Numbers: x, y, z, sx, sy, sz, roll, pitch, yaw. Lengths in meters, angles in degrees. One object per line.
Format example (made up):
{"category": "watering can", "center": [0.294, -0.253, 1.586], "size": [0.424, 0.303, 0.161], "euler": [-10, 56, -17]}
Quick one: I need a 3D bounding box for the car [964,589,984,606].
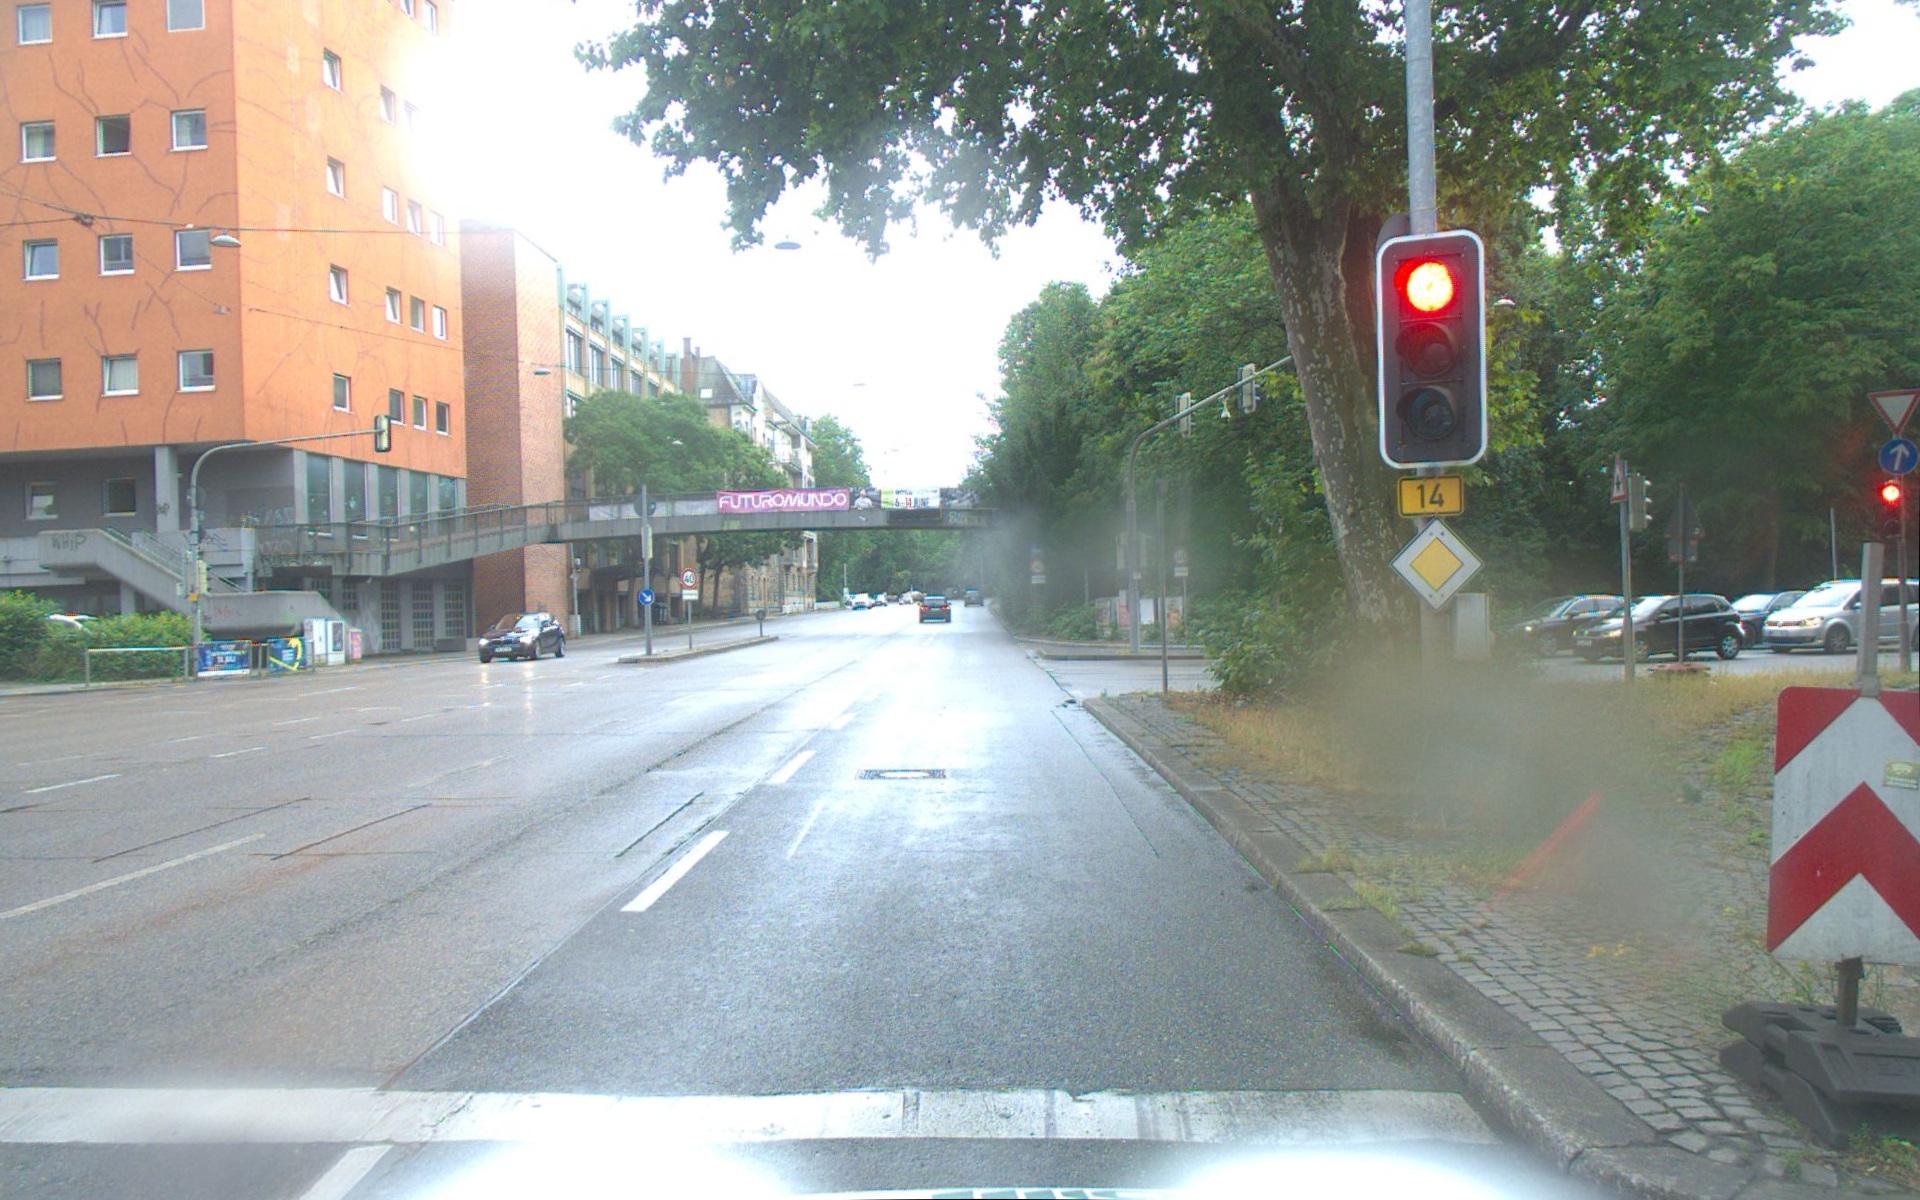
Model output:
{"category": "car", "center": [1.311, -0.227, 155.445], "size": [1.805, 1.478, 3.776], "euler": [1, 0, -1]}

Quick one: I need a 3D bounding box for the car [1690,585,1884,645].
{"category": "car", "center": [20.968, 0.380, 41.960], "size": [4.361, 1.427, 1.821], "euler": [1, 0, -17]}

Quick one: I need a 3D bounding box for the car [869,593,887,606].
{"category": "car", "center": [-9.782, -0.054, 196.994], "size": [1.673, 1.490, 4.042], "euler": [-2, 0, 2]}

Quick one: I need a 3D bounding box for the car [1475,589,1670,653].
{"category": "car", "center": [14.896, 0.516, 40.268], "size": [4.131, 1.466, 1.941], "euler": [1, 0, -17]}

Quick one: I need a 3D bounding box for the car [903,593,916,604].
{"category": "car", "center": [-6.818, -0.173, 222.749], "size": [1.648, 1.461, 3.862], "euler": [-2, 0, 0]}

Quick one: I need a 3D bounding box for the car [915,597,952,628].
{"category": "car", "center": [-1.529, 0.720, 94.289], "size": [1.964, 1.672, 4.374], "euler": [-1, 0, -2]}

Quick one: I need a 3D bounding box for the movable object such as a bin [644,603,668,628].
{"category": "movable object such as a bin", "center": [-19.862, 1.017, 108.157], "size": [1.272, 1.545, 1.214], "euler": [-1, 0, 1]}

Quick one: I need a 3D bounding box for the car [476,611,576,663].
{"category": "car", "center": [-13.228, 1.119, 50.604], "size": [1.650, 1.444, 4.216], "euler": [-2, -1, 4]}

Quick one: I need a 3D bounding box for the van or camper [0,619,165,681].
{"category": "van or camper", "center": [-25.253, 1.424, 47.521], "size": [3.902, 1.656, 1.915], "euler": [-1, 0, 5]}

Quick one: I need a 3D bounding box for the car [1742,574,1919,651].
{"category": "car", "center": [20.598, 0.301, 38.497], "size": [4.129, 1.709, 1.898], "euler": [1, 0, -17]}

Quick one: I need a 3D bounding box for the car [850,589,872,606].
{"category": "car", "center": [-10.289, -0.249, 171.593], "size": [1.850, 1.638, 4.457], "euler": [-1, 0, 2]}

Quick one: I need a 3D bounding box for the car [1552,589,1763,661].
{"category": "car", "center": [15.374, 0.555, 36.508], "size": [4.119, 1.486, 1.785], "euler": [1, 0, -17]}

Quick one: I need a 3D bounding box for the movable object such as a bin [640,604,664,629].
{"category": "movable object such as a bin", "center": [-19.892, 1.046, 106.695], "size": [1.256, 1.545, 1.273], "euler": [-1, 0, 1]}
